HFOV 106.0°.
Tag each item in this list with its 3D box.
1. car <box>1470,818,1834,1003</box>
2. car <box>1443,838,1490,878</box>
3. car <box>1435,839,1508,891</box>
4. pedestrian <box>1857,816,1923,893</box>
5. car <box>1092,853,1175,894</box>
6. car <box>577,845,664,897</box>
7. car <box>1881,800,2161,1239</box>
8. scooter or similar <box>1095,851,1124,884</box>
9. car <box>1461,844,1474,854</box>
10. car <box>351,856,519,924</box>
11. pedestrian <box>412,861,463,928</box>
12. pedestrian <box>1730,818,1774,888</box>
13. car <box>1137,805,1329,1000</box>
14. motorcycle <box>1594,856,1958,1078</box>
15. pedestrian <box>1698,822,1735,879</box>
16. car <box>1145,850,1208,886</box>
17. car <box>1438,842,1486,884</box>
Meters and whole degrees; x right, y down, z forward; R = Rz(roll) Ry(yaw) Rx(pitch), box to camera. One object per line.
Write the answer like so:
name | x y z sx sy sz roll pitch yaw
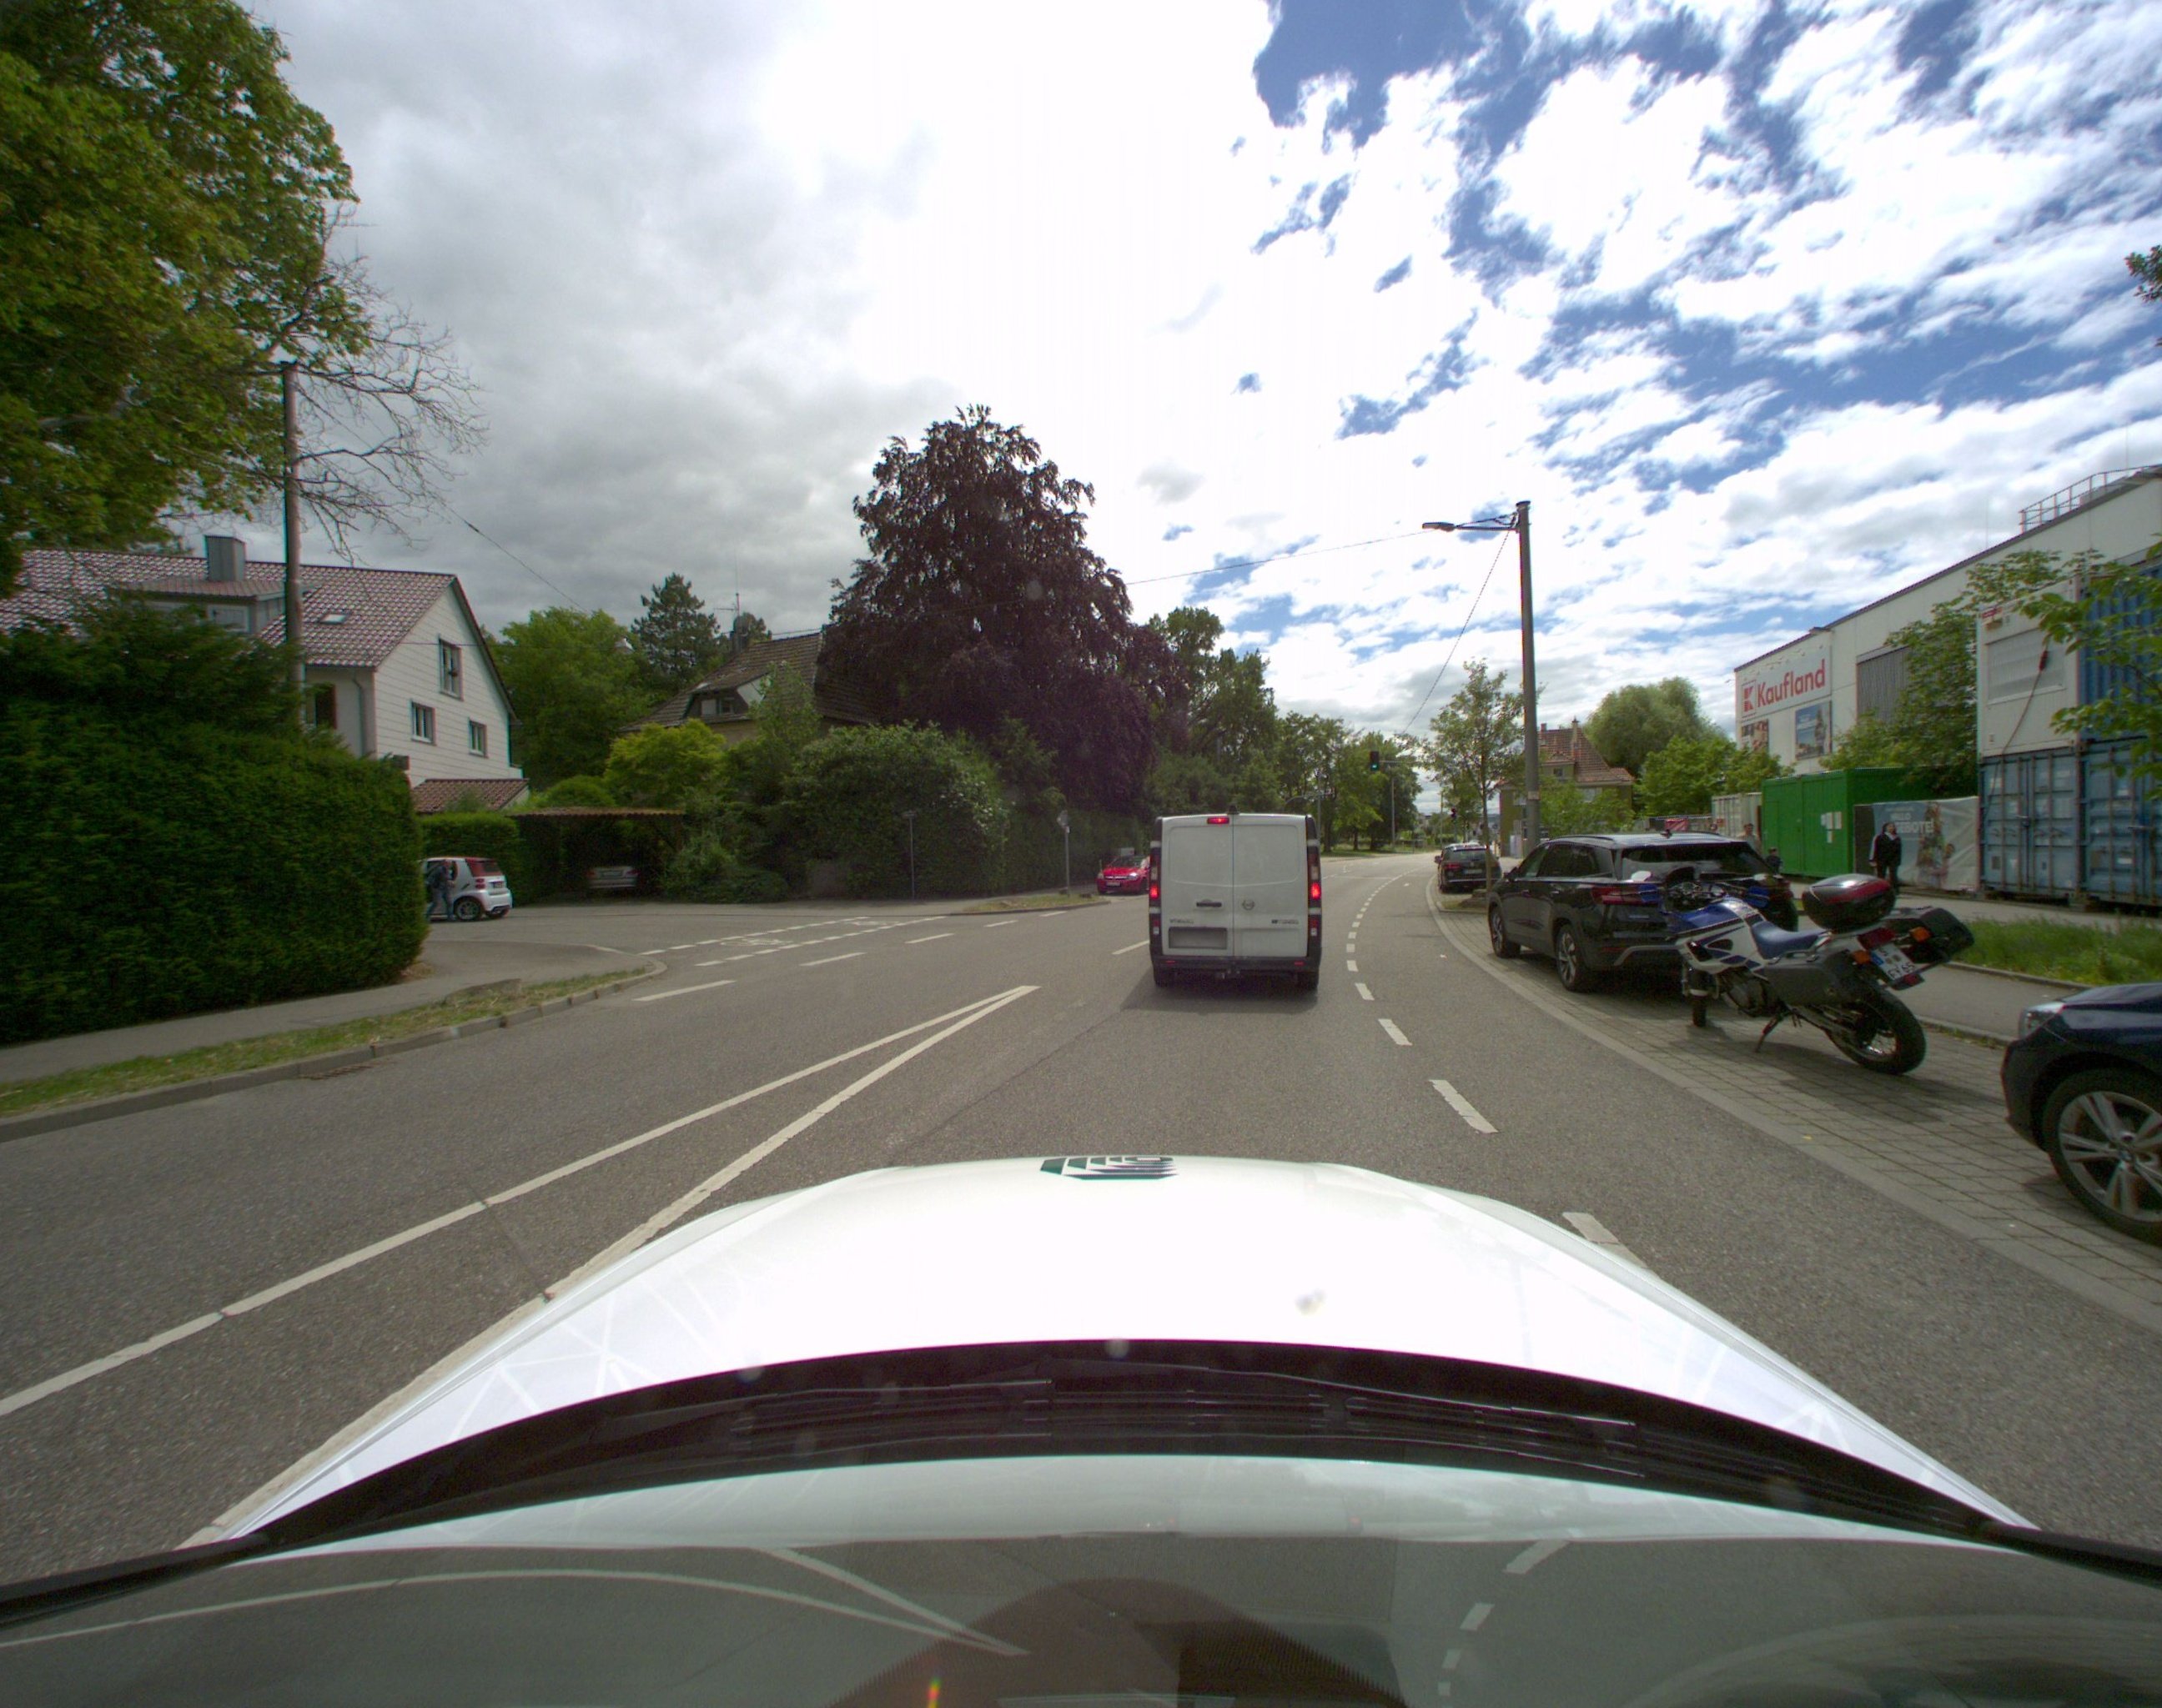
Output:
car | 6.245 0.521 9.730 1.865 1.621 4.865 -3 0 14
car | 17.335 0.167 36.781 1.721 1.616 4.411 -4 -1 24
car | 12.859 0.318 27.049 1.749 1.477 4.962 -4 -1 22
pedestrian | 17.379 0.014 17.515 0.736 1.618 0.771 -1 0 21
car | 2.064 0.673 30.674 1.646 1.378 4.592 0 1 24
car | -14.773 0.488 26.343 1.728 1.509 3.974 -1 1 -19
car | 4.597 0.559 1.765 1.904 1.578 4.443 -3 0 11
scooter or similar | 1.294 0.587 36.410 0.664 1.412 1.658 0 1 25
car | 63.026 -0.844 132.939 1.816 1.616 4.176 -2 0 25
car | -15.623 0.831 19.826 2.773 1.555 1.582 0 0 -15
pedestrian | -14.912 0.916 18.894 0.730 1.508 0.624 -1 0 -17
pedestrian | 16.777 -0.024 20.374 0.645 1.696 0.729 -1 0 23
car | 2.035 0.442 10.766 1.926 1.960 4.849 1 1 12
motorcycle | 4.965 0.712 6.137 1.064 1.305 2.268 -4 -1 12
pedestrian | 19.395 -0.116 24.862 0.646 1.697 0.849 -1 0 21
car | 4.226 0.579 35.551 1.635 1.450 4.128 0 1 23
car | 14.794 0.305 31.720 1.554 1.493 4.023 -2 0 24
